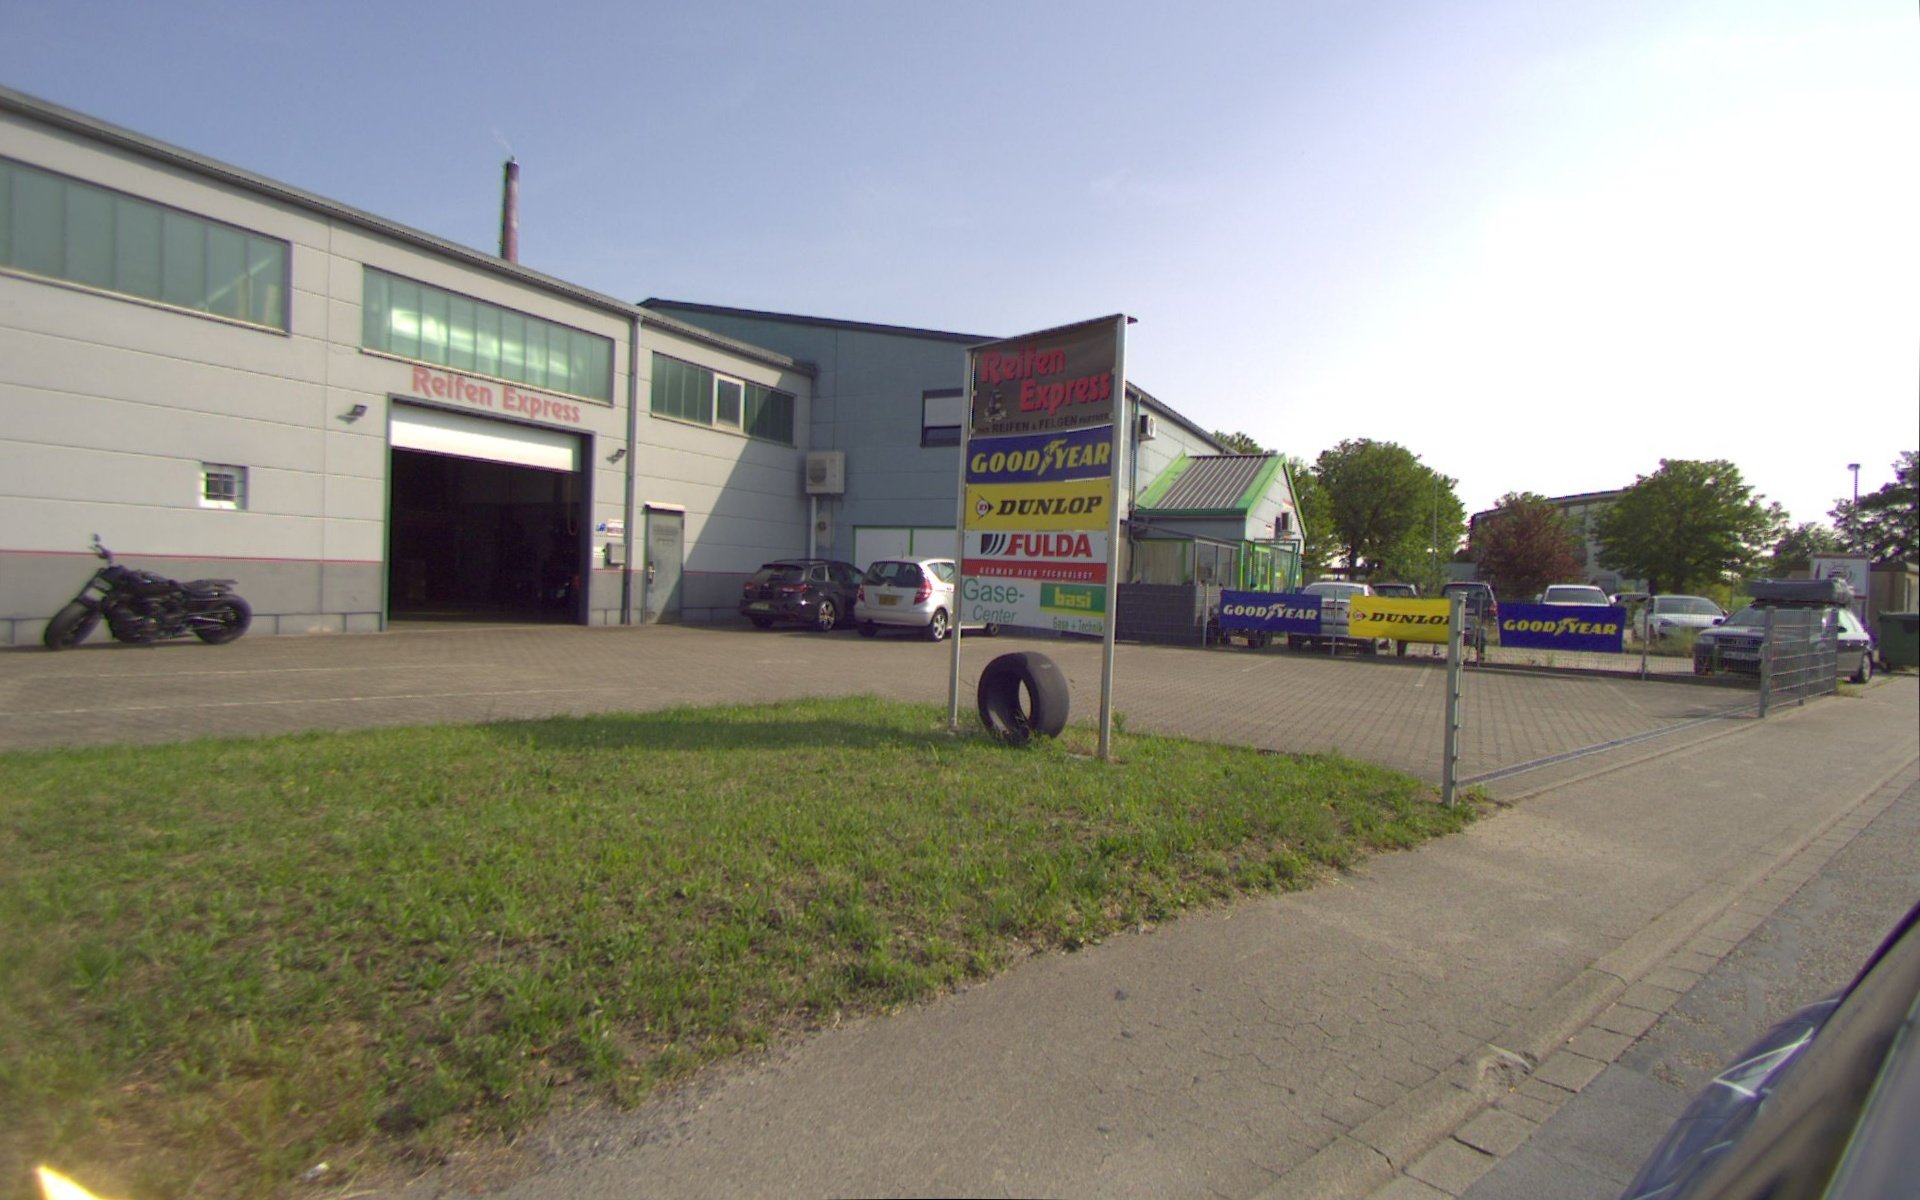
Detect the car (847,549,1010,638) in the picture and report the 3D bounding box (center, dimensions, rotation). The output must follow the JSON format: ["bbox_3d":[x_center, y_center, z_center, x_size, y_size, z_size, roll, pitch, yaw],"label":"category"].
[{"bbox_3d":[-0.536,-0.159,20.429,1.624,1.587,3.769,2,2,28],"label":"car"}]

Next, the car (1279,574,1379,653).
[{"bbox_3d":[8.020,0.225,21.757,1.627,1.484,4.423,2,1,25],"label":"car"}]

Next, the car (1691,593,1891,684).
[{"bbox_3d":[14.743,0.618,17.877,4.311,1.385,1.679,1,2,-36],"label":"car"}]

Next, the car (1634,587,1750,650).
[{"bbox_3d":[19.370,0.414,26.964,1.675,1.484,4.226,2,1,25],"label":"car"}]

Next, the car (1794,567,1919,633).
[{"bbox_3d":[38.206,-0.008,40.967,6.706,2.571,2.251,1,0,37],"label":"car"}]

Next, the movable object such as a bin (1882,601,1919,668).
[{"bbox_3d":[20.688,0.752,21.659,1.478,1.369,1.084,1,4,-38],"label":"movable object such as a bin"}]

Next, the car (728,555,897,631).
[{"bbox_3d":[-3.003,-0.170,21.270,1.666,1.420,3.676,2,2,28],"label":"car"}]

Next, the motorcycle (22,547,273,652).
[{"bbox_3d":[-9.461,-0.026,11.906,0.795,1.108,2.183,2,1,25],"label":"motorcycle"}]

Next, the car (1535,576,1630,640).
[{"bbox_3d":[17.209,0.171,28.141,1.703,1.592,4.098,2,1,25],"label":"car"}]

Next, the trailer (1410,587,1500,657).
[{"bbox_3d":[9.734,0.386,19.950,1.480,1.264,2.950,1,0,26],"label":"trailer"}]

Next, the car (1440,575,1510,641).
[{"bbox_3d":[14.743,0.199,29.111,1.627,1.741,3.186,2,1,25],"label":"car"}]
